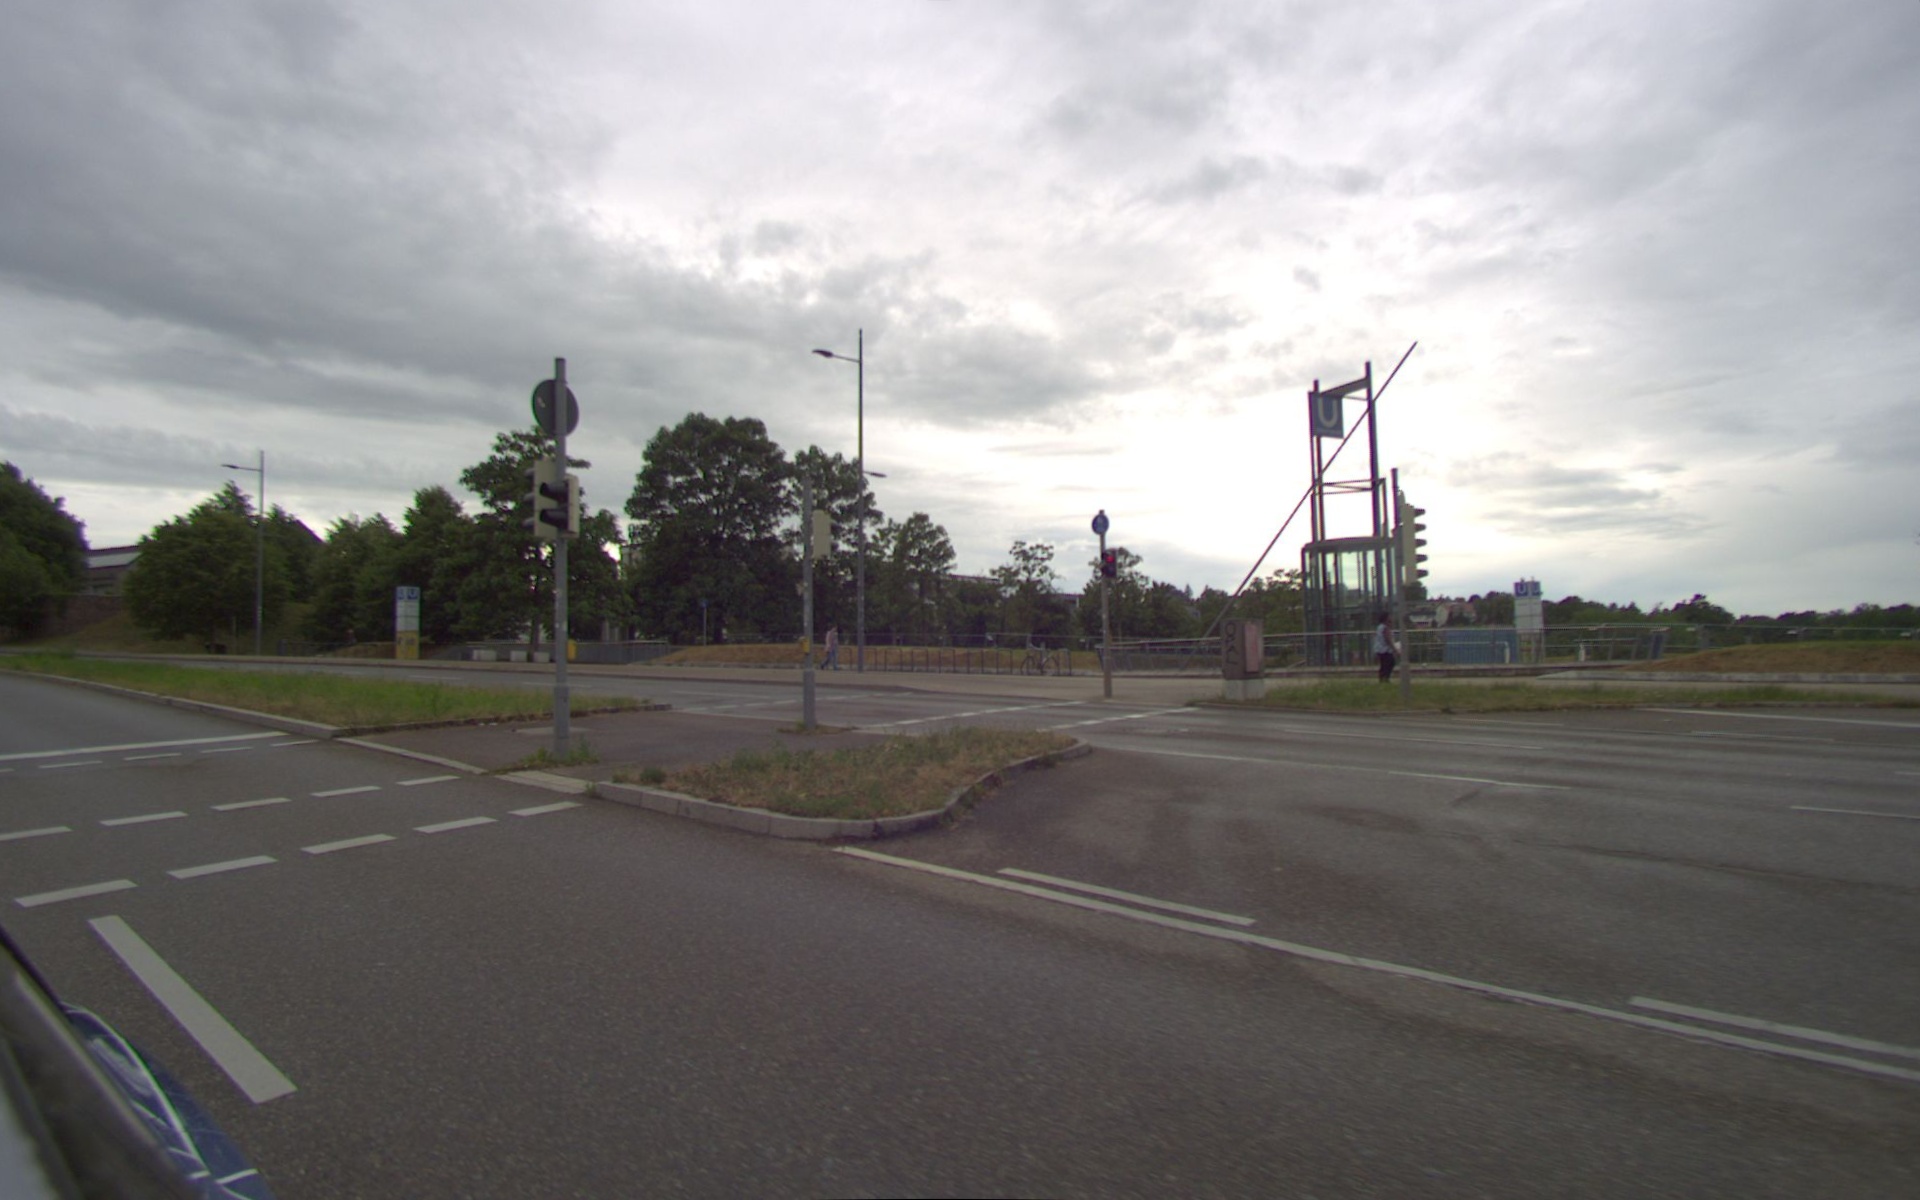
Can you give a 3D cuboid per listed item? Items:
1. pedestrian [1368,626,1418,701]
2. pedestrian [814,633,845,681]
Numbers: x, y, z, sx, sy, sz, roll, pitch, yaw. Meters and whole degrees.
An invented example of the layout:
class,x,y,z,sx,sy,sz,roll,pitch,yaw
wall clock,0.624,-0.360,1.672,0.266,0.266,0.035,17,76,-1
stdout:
class,x,y,z,sx,sy,sz,roll,pitch,yaw
pedestrian,9.547,1.403,22.357,0.665,1.606,0.821,-2,-4,2
pedestrian,-4.435,1.951,34.467,0.811,1.606,0.608,-5,-5,36
